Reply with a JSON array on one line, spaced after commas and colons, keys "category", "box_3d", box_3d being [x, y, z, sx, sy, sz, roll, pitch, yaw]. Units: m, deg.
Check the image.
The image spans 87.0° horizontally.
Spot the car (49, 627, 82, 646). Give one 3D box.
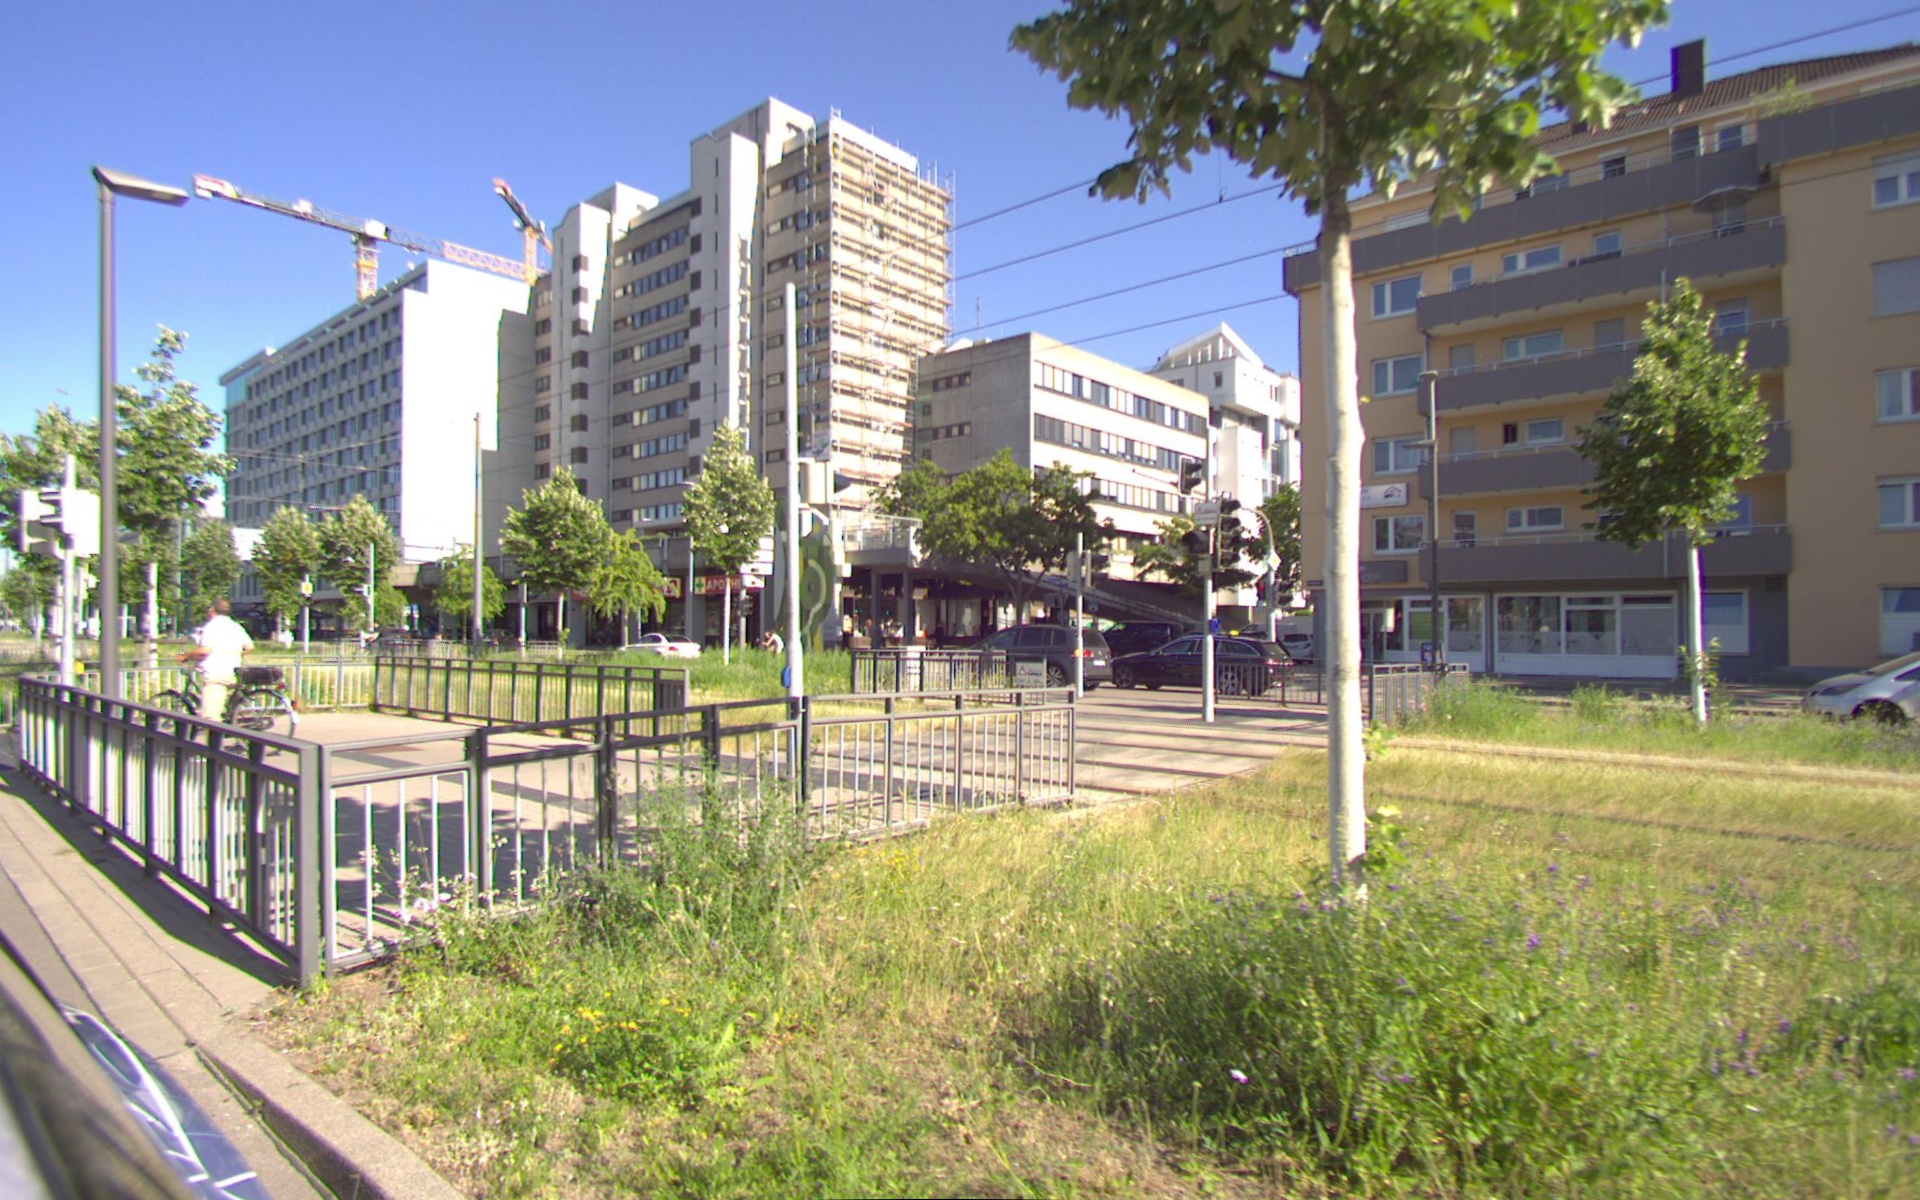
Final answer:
[{"category": "car", "box_3d": [-89.597, 3.679, 101.370, 4.284, 1.833, 1.972, -1, -1, 42]}]

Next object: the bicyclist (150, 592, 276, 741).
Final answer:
[{"category": "bicyclist", "box_3d": [-7.989, 0.690, 10.840, 0.723, 1.524, 0.824, -1, -1, 15]}]

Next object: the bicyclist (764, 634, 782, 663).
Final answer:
[{"category": "bicyclist", "box_3d": [-8.207, 2.121, 44.495, 0.755, 1.234, 0.581, -1, -1, -10]}]

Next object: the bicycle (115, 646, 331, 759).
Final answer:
[{"category": "bicycle", "box_3d": [-7.812, 1.055, 10.738, 2.063, 1.099, 0.731, -1, -1, 15]}]

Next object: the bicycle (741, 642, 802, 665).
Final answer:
[{"category": "bicycle", "box_3d": [-8.436, 2.400, 45.290, 2.631, 0.958, 0.564, -1, -1, -10]}]

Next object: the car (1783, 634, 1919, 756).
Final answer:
[{"category": "car", "box_3d": [15.387, 1.423, 15.518, 3.984, 1.763, 1.916, -1, -1, 30]}]

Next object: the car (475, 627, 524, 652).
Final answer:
[{"category": "car", "box_3d": [-29.878, 2.553, 65.808, 1.691, 1.531, 4.005, -1, -1, -6]}]

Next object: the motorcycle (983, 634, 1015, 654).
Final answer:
[{"category": "motorcycle", "box_3d": [2.157, 2.430, 56.035, 1.876, 1.114, 0.440, -1, -1, 42]}]

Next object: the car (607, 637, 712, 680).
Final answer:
[{"category": "car", "box_3d": [-12.394, 2.368, 41.655, 4.503, 1.590, 1.974, -1, -1, 40]}]

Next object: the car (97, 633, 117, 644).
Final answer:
[{"category": "car", "box_3d": [-128.621, 5.798, 152.630, 3.811, 1.519, 1.804, -1, -1, 41]}]

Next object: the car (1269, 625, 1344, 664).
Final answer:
[{"category": "car", "box_3d": [16.097, 2.016, 46.953, 1.998, 1.630, 3.946, -1, -1, 40]}]

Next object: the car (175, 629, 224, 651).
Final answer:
[{"category": "car", "box_3d": [-57.094, 2.978, 75.954, 4.503, 1.590, 1.974, -1, -1, 40]}]

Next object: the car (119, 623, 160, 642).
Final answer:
[{"category": "car", "box_3d": [-72.173, 2.858, 88.988, 4.503, 1.590, 1.974, -1, -1, 40]}]

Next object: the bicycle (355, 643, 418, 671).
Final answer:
[{"category": "bicycle", "box_3d": [-21.472, 2.131, 37.894, 1.984, 0.958, 0.564, -1, -1, -10]}]

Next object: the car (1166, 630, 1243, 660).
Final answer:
[{"category": "car", "box_3d": [14.465, 2.636, 59.903, 3.994, 1.619, 1.974, -1, -1, 38]}]

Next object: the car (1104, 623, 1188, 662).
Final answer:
[{"category": "car", "box_3d": [9.970, 2.278, 54.405, 3.994, 1.984, 1.974, -1, -1, 38]}]

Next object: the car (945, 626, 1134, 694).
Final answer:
[{"category": "car", "box_3d": [1.980, 1.488, 25.863, 4.503, 1.590, 1.973, -1, -4, 40]}]

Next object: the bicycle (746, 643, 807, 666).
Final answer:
[{"category": "bicycle", "box_3d": [-8.060, 2.385, 44.510, 2.631, 0.958, 0.564, -1, -1, -10]}]

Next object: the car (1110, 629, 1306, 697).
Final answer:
[{"category": "car", "box_3d": [6.298, 1.577, 26.000, 4.503, 1.590, 1.973, -1, -4, 40]}]

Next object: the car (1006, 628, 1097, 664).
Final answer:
[{"category": "car", "box_3d": [4.391, 2.193, 48.967, 3.999, 1.652, 1.972, -1, -1, 42]}]

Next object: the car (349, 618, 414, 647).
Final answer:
[{"category": "car", "box_3d": [-34.381, 1.950, 60.133, 4.102, 1.590, 1.973, -1, -4, 39]}]

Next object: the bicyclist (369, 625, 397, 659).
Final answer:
[{"category": "bicyclist", "box_3d": [-21.582, 1.573, 37.886, 0.755, 1.234, 0.581, -1, -1, -10]}]

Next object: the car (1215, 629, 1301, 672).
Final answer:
[{"category": "car", "box_3d": [12.380, 2.051, 41.964, 1.998, 1.630, 3.946, -1, -1, 40]}]

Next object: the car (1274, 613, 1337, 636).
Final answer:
[{"category": "car", "box_3d": [25.759, 1.845, 75.544, 3.994, 1.652, 1.974, -1, -1, 38]}]

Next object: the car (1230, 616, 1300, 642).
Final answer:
[{"category": "car", "box_3d": [20.319, 1.949, 67.460, 3.994, 1.652, 1.974, -1, -1, 38]}]

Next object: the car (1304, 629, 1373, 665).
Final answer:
[{"category": "car", "box_3d": [18.815, 2.300, 50.228, 1.998, 1.630, 3.946, -1, -1, 40]}]

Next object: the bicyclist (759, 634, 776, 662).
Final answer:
[{"category": "bicyclist", "box_3d": [-8.605, 2.135, 45.263, 0.755, 1.234, 0.581, -1, -1, -10]}]
